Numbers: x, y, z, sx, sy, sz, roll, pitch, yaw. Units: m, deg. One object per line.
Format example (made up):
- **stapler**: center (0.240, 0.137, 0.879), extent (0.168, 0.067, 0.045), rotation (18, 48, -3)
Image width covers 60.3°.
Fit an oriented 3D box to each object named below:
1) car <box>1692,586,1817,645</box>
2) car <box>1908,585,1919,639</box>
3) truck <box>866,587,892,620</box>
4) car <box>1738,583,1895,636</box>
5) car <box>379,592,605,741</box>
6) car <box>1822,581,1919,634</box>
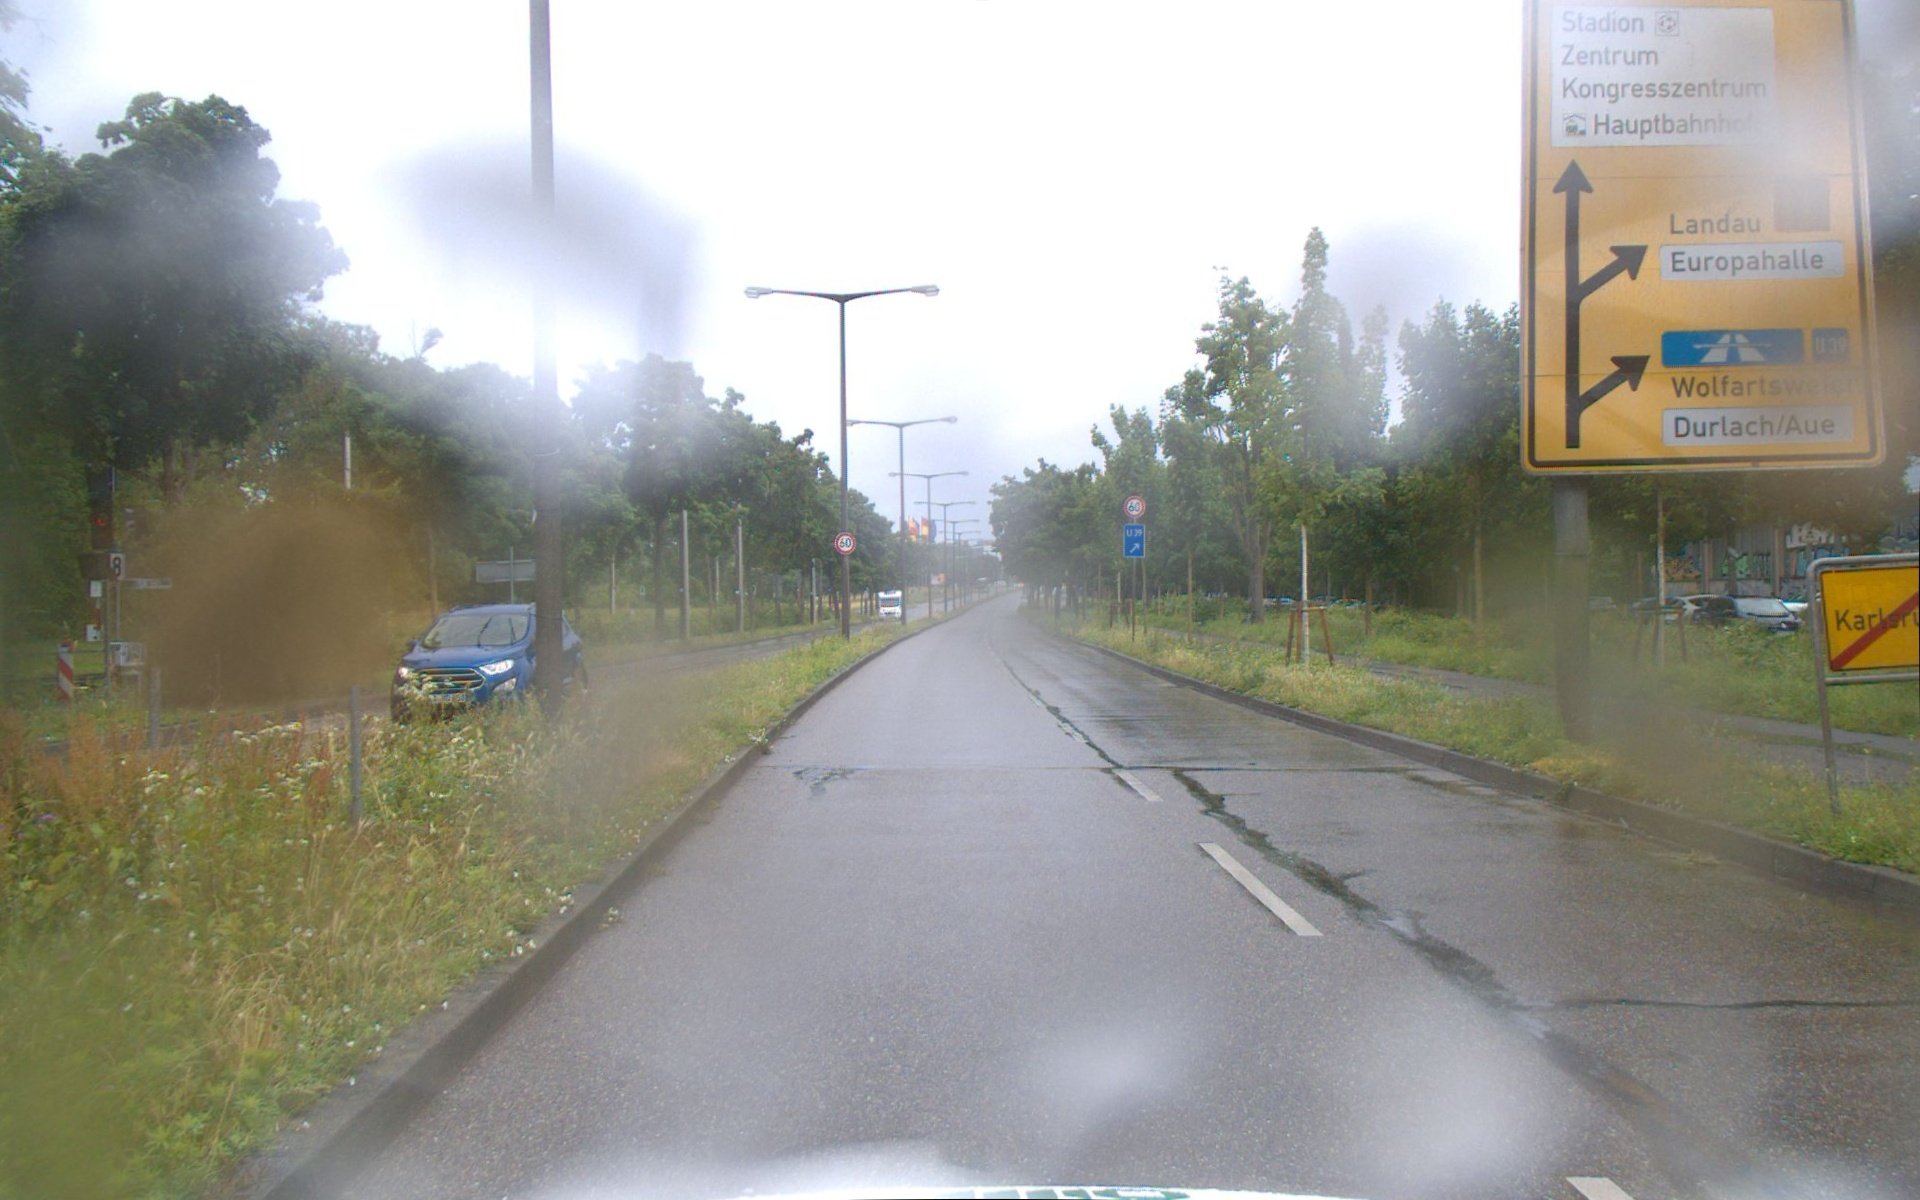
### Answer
- **car**: center (22.334, 0.407, 46.643), extent (1.708, 1.470, 4.124), rotation (-1, 1, 3)
- **car**: center (29.883, 0.379, 47.505), extent (4.247, 1.585, 1.944), rotation (1, -1, -3)
- **truck**: center (-7.475, 0.371, 153.369), extent (2.094, 2.893, 5.072), rotation (-2, -1, -1)
- **car**: center (29.819, 0.330, 57.657), extent (4.478, 1.735, 1.999), rotation (1, -1, -3)
- **car**: center (-6.026, 0.789, 21.780), extent (1.708, 1.679, 4.136), rotation (-3, 0, 0)
- **car**: center (29.780, 0.265, 51.855), extent (4.473, 1.585, 1.946), rotation (1, -1, 4)
